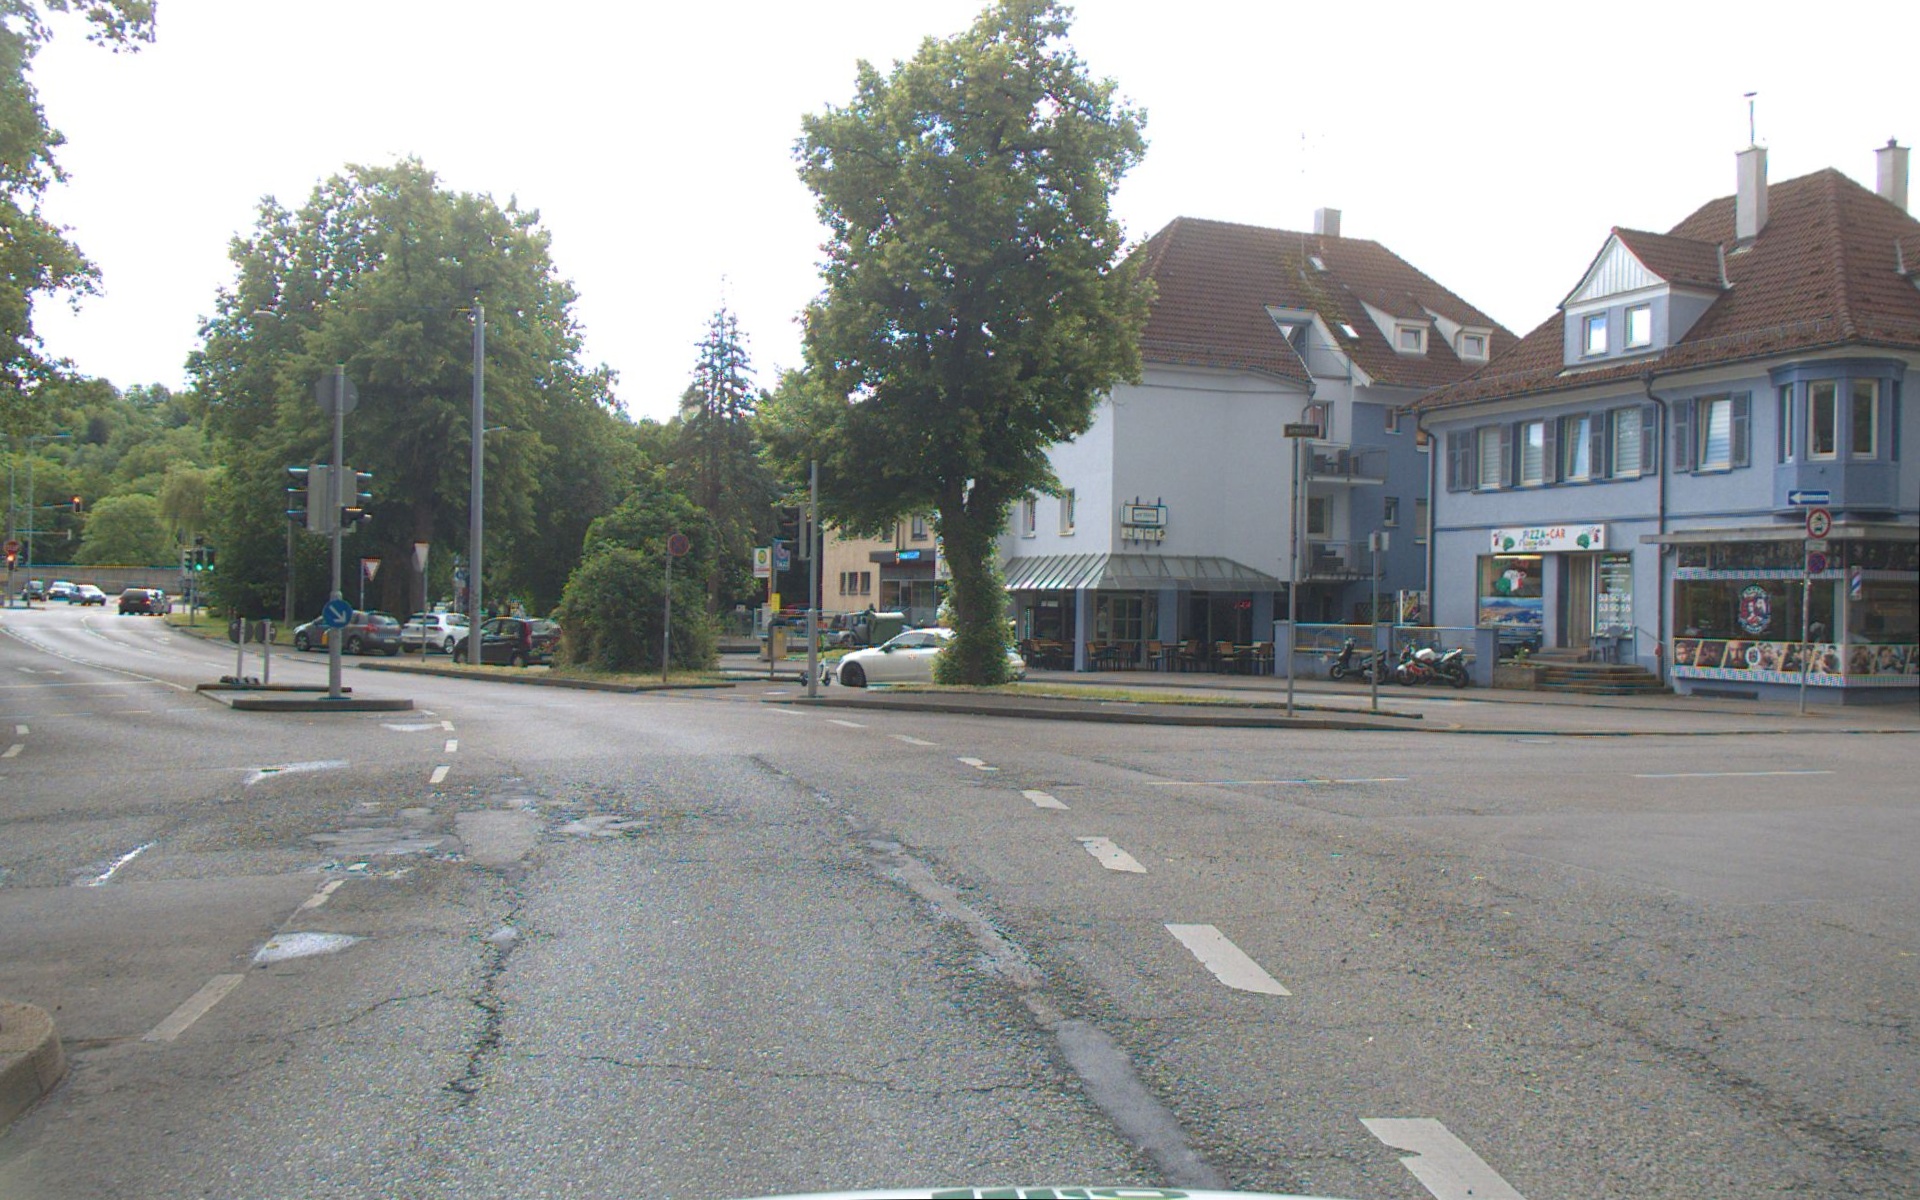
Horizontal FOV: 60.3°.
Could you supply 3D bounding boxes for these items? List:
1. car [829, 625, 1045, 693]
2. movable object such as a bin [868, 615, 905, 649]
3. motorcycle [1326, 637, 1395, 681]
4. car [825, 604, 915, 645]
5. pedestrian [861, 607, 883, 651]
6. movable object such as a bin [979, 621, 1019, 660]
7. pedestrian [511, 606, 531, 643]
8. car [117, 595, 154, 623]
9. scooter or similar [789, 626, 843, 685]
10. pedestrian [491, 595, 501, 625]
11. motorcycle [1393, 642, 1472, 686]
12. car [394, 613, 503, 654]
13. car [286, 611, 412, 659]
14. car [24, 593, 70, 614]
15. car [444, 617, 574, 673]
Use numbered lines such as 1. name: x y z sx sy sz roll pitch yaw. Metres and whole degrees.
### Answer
1. car: -0.553 1.282 37.318 4.695 1.411 1.991 -1 -1 38
2. movable object such as a bin: -2.915 1.262 65.637 1.202 1.368 0.986 0 -1 -28
3. motorcycle: 9.972 1.457 41.209 0.486 1.049 1.697 1 -1 -44
4. car: -3.678 0.995 67.641 3.366 1.659 1.614 0 -1 -22
5. pedestrian: -3.551 1.146 66.627 0.679 1.760 0.605 0 -1 -29
6. movable object such as a bin: 1.459 1.504 61.989 1.195 1.420 1.155 0 -1 -19
7. pedestrian: -19.184 1.076 72.233 0.676 1.578 0.736 1 0 -29
8. car: -47.242 0.495 94.745 1.801 1.536 4.533 1 0 -27
9. scooter or similar: -2.989 1.171 34.465 0.403 1.187 1.360 0 -3 29
10. pedestrian: -24.871 0.531 88.657 0.503 1.558 0.774 0 -1 -19
11. motorcycle: 11.206 1.510 39.258 0.518 1.003 1.793 1 -1 -44
12. car: -18.357 1.188 59.586 1.722 1.405 4.264 1 0 15
13. car: -20.986 1.189 56.825 4.018 1.454 1.732 2 0 25
14. car: -73.149 0.307 132.597 3.007 1.259 1.433 2 12 -19
15. car: -12.529 1.219 45.909 3.420 1.429 1.569 1 0 32
